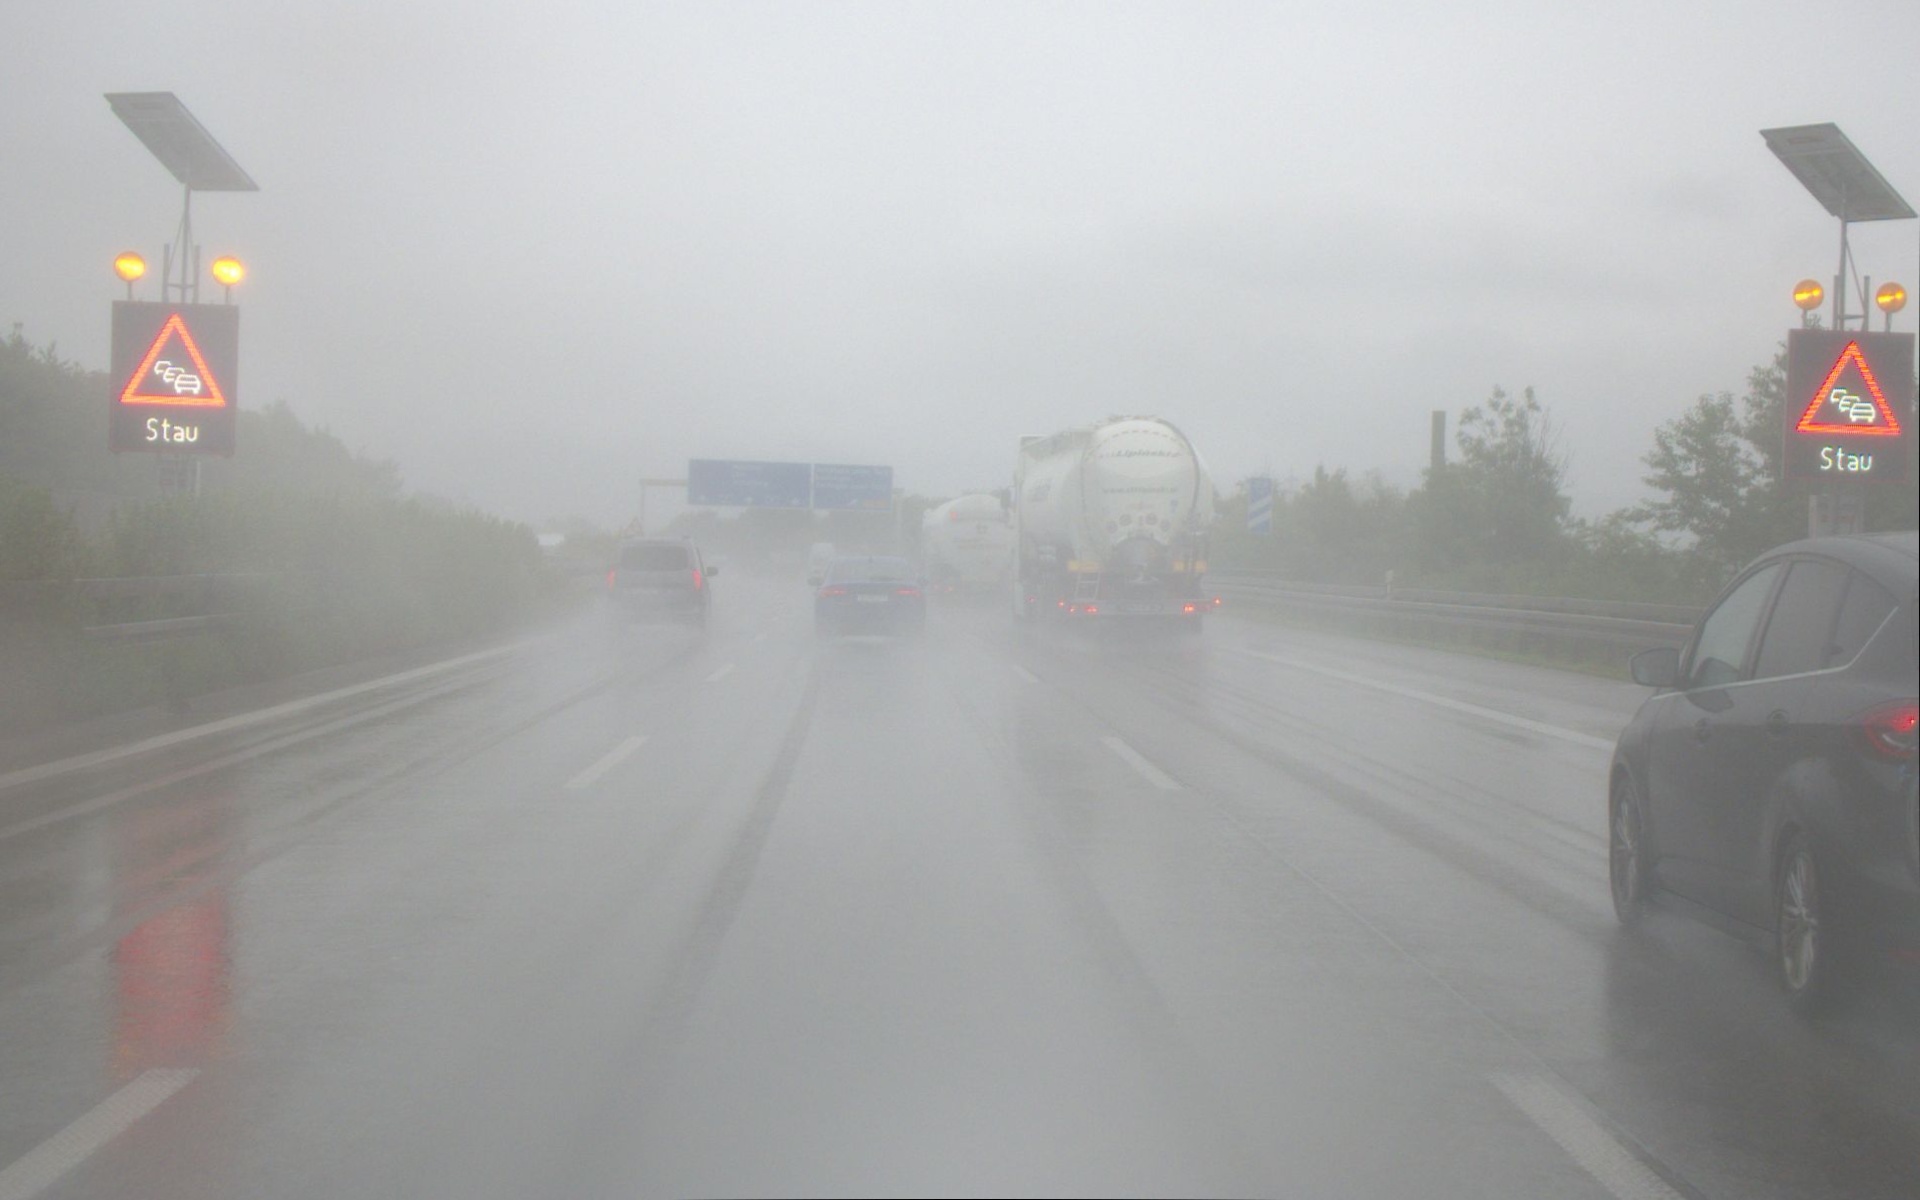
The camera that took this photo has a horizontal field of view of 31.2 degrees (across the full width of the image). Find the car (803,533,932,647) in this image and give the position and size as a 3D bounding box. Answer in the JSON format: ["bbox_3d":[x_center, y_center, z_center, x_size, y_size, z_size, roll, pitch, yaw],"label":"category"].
[{"bbox_3d":[-1.460,-0.203,55.852,1.978,1.750,4.482,0,1,0],"label":"car"}]

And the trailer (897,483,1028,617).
[{"bbox_3d":[0.006,-1.547,104.811,3.004,3.834,8.625,2,1,-6],"label":"trailer"}]

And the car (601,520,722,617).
[{"bbox_3d":[-5.522,-0.604,63.942,1.925,1.735,4.404,1,1,-1],"label":"car"}]

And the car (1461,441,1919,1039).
[{"bbox_3d":[3.522,0.370,12.877,2.457,1.740,5.719,1,1,0],"label":"car"}]

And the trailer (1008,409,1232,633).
[{"bbox_3d":[2.716,-1.428,62.411,3.188,3.657,11.668,0,1,-2],"label":"trailer"}]
